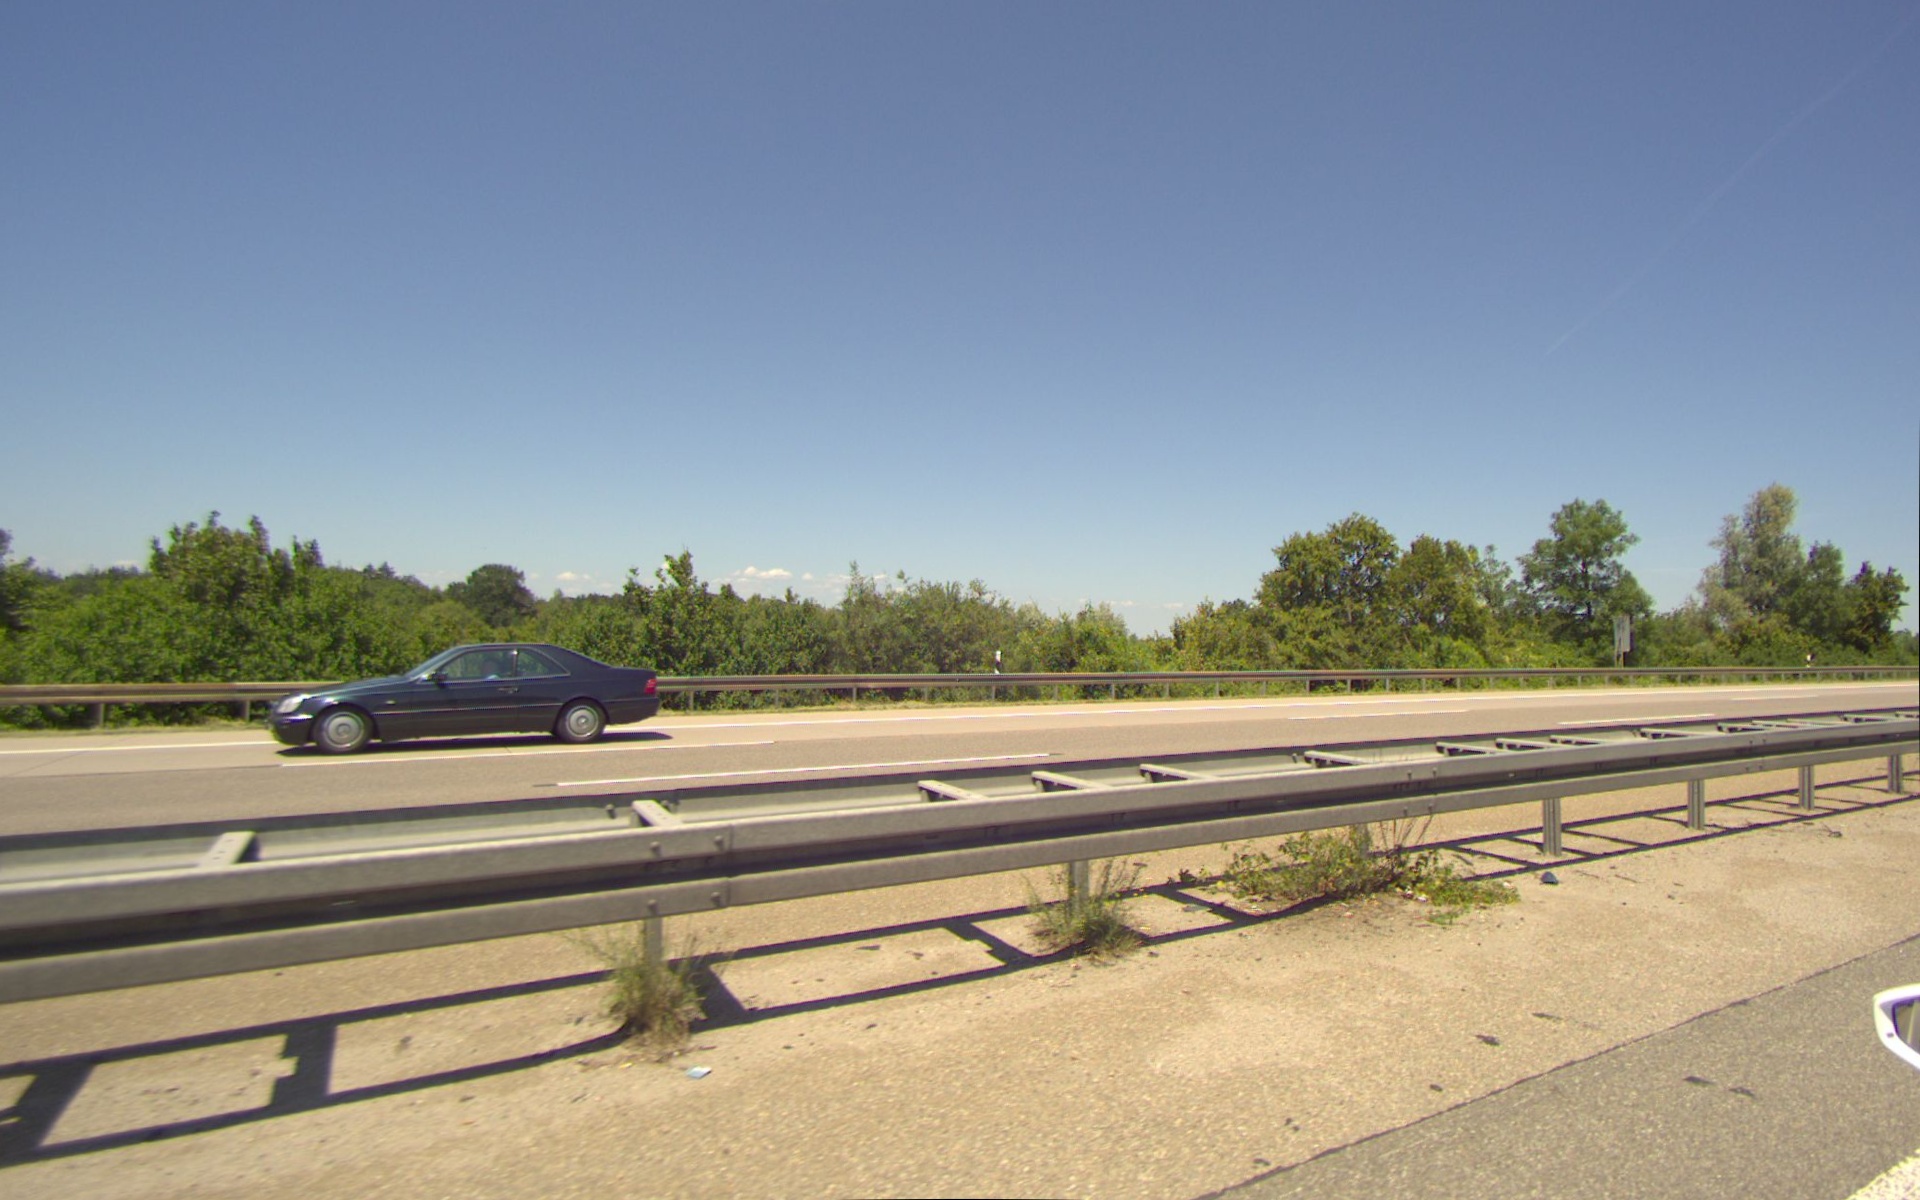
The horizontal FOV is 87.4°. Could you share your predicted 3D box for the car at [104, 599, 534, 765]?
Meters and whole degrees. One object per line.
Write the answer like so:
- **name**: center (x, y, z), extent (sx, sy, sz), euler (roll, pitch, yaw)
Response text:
- **car**: center (-8.340, 1.075, 13.551), extent (4.530, 1.896, 1.984), euler (2, -5, -32)
